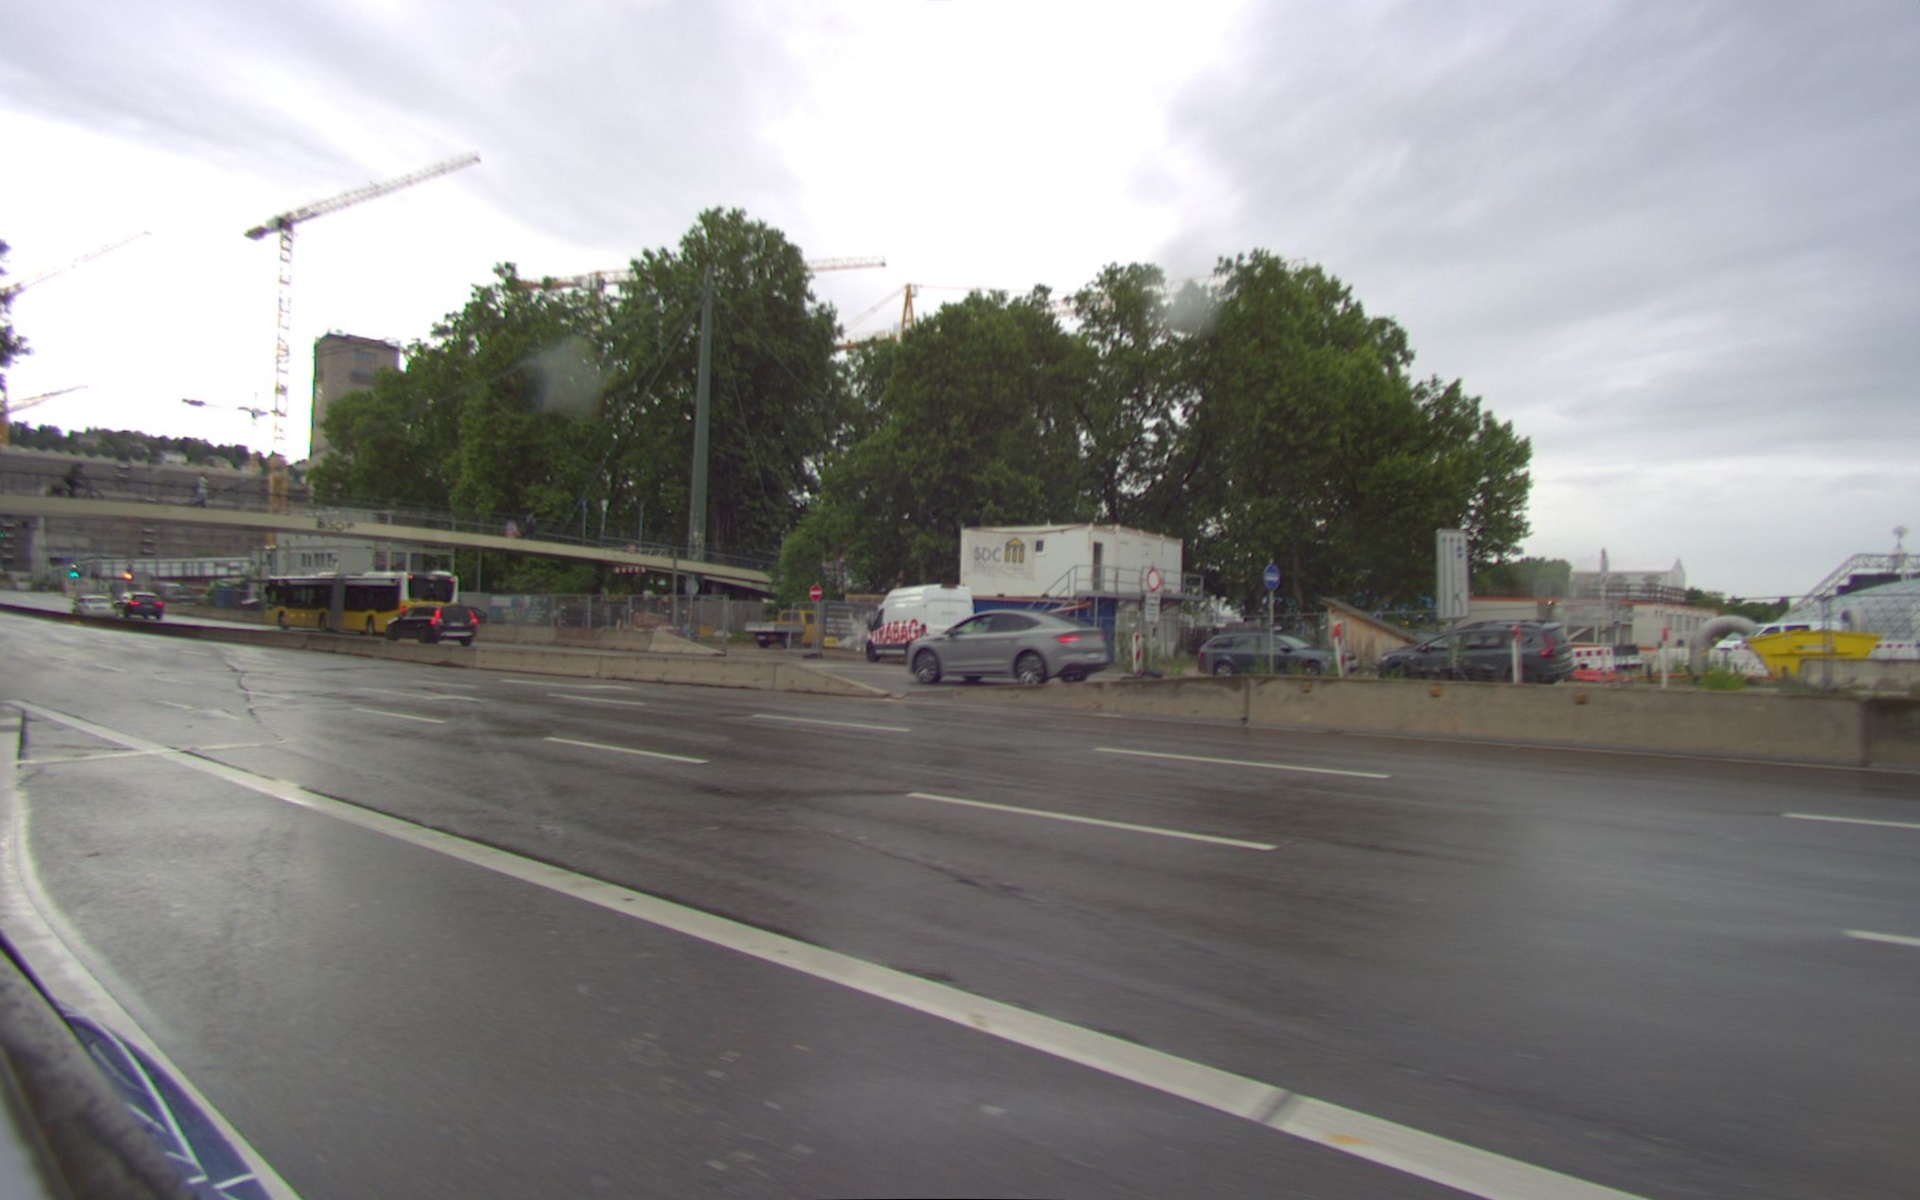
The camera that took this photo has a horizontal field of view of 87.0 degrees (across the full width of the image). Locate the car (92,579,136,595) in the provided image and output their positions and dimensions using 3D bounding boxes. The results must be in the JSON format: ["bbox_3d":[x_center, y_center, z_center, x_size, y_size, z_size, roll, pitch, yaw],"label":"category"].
[{"bbox_3d":[-126.518,-1.940,151.355,4.956,2.029,2.000,2,-1,0],"label":"car"}]

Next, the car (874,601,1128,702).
[{"bbox_3d":[0.788,1.034,21.983,5.290,1.769,1.975,2,-1,37],"label":"car"}]

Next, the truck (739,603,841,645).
[{"bbox_3d":[-8.646,1.261,51.949,2.158,2.029,5.204,1,-1,34],"label":"truck"}]

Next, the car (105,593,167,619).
[{"bbox_3d":[-54.189,0.392,66.548,4.845,1.643,2.062,1,-2,37],"label":"car"}]

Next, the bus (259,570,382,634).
[{"bbox_3d":[-34.815,0.092,54.924,8.796,3.208,2.779,1,-2,38],"label":"bus"}]

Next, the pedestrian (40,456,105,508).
[{"bbox_3d":[-38.936,-5.144,44.425,1.112,2.029,1.965,2,0,41],"label":"pedestrian"}]

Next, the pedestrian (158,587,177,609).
[{"bbox_3d":[-76.073,-0.201,97.149,1.172,2.029,1.169,2,0,37],"label":"pedestrian"}]

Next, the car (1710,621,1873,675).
[{"bbox_3d":[37.534,2.143,45.826,5.289,2.245,2.121,1,-1,9],"label":"car"}]

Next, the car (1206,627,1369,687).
[{"bbox_3d":[9.457,1.596,29.407,4.173,1.577,1.743,-1,-2,41],"label":"car"}]

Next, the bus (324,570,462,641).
[{"bbox_3d":[-27.732,0.232,49.299,9.142,3.175,2.676,1,-1,40],"label":"bus"}]

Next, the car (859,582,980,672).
[{"bbox_3d":[-1.577,0.869,36.056,1.965,2.897,6.072,3,-1,-25],"label":"car"}]

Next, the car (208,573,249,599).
[{"bbox_3d":[-94.890,-1.821,131.213,6.155,3.089,2.254,2,-1,35],"label":"car"}]

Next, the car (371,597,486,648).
[{"bbox_3d":[-20.429,0.837,38.801,4.927,1.674,2.019,2,-1,38],"label":"car"}]

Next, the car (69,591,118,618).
[{"bbox_3d":[-53.643,0.267,62.662,3.448,1.500,1.692,2,-1,40],"label":"car"}]

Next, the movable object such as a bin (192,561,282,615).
[{"bbox_3d":[-70.932,-1.184,99.259,8.344,4.839,4.707,2,-1,36],"label":"movable object such as a bin"}]

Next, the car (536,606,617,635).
[{"bbox_3d":[-23.378,1.292,61.901,1.951,1.640,4.393,2,-1,29],"label":"car"}]

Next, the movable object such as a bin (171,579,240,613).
[{"bbox_3d":[-78.108,-0.387,104.747,6.377,3.152,3.896,2,-1,36],"label":"movable object such as a bin"}]

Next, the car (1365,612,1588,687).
[{"bbox_3d":[13.019,1.196,25.751,1.740,1.577,4.689,3,-1,-42],"label":"car"}]
